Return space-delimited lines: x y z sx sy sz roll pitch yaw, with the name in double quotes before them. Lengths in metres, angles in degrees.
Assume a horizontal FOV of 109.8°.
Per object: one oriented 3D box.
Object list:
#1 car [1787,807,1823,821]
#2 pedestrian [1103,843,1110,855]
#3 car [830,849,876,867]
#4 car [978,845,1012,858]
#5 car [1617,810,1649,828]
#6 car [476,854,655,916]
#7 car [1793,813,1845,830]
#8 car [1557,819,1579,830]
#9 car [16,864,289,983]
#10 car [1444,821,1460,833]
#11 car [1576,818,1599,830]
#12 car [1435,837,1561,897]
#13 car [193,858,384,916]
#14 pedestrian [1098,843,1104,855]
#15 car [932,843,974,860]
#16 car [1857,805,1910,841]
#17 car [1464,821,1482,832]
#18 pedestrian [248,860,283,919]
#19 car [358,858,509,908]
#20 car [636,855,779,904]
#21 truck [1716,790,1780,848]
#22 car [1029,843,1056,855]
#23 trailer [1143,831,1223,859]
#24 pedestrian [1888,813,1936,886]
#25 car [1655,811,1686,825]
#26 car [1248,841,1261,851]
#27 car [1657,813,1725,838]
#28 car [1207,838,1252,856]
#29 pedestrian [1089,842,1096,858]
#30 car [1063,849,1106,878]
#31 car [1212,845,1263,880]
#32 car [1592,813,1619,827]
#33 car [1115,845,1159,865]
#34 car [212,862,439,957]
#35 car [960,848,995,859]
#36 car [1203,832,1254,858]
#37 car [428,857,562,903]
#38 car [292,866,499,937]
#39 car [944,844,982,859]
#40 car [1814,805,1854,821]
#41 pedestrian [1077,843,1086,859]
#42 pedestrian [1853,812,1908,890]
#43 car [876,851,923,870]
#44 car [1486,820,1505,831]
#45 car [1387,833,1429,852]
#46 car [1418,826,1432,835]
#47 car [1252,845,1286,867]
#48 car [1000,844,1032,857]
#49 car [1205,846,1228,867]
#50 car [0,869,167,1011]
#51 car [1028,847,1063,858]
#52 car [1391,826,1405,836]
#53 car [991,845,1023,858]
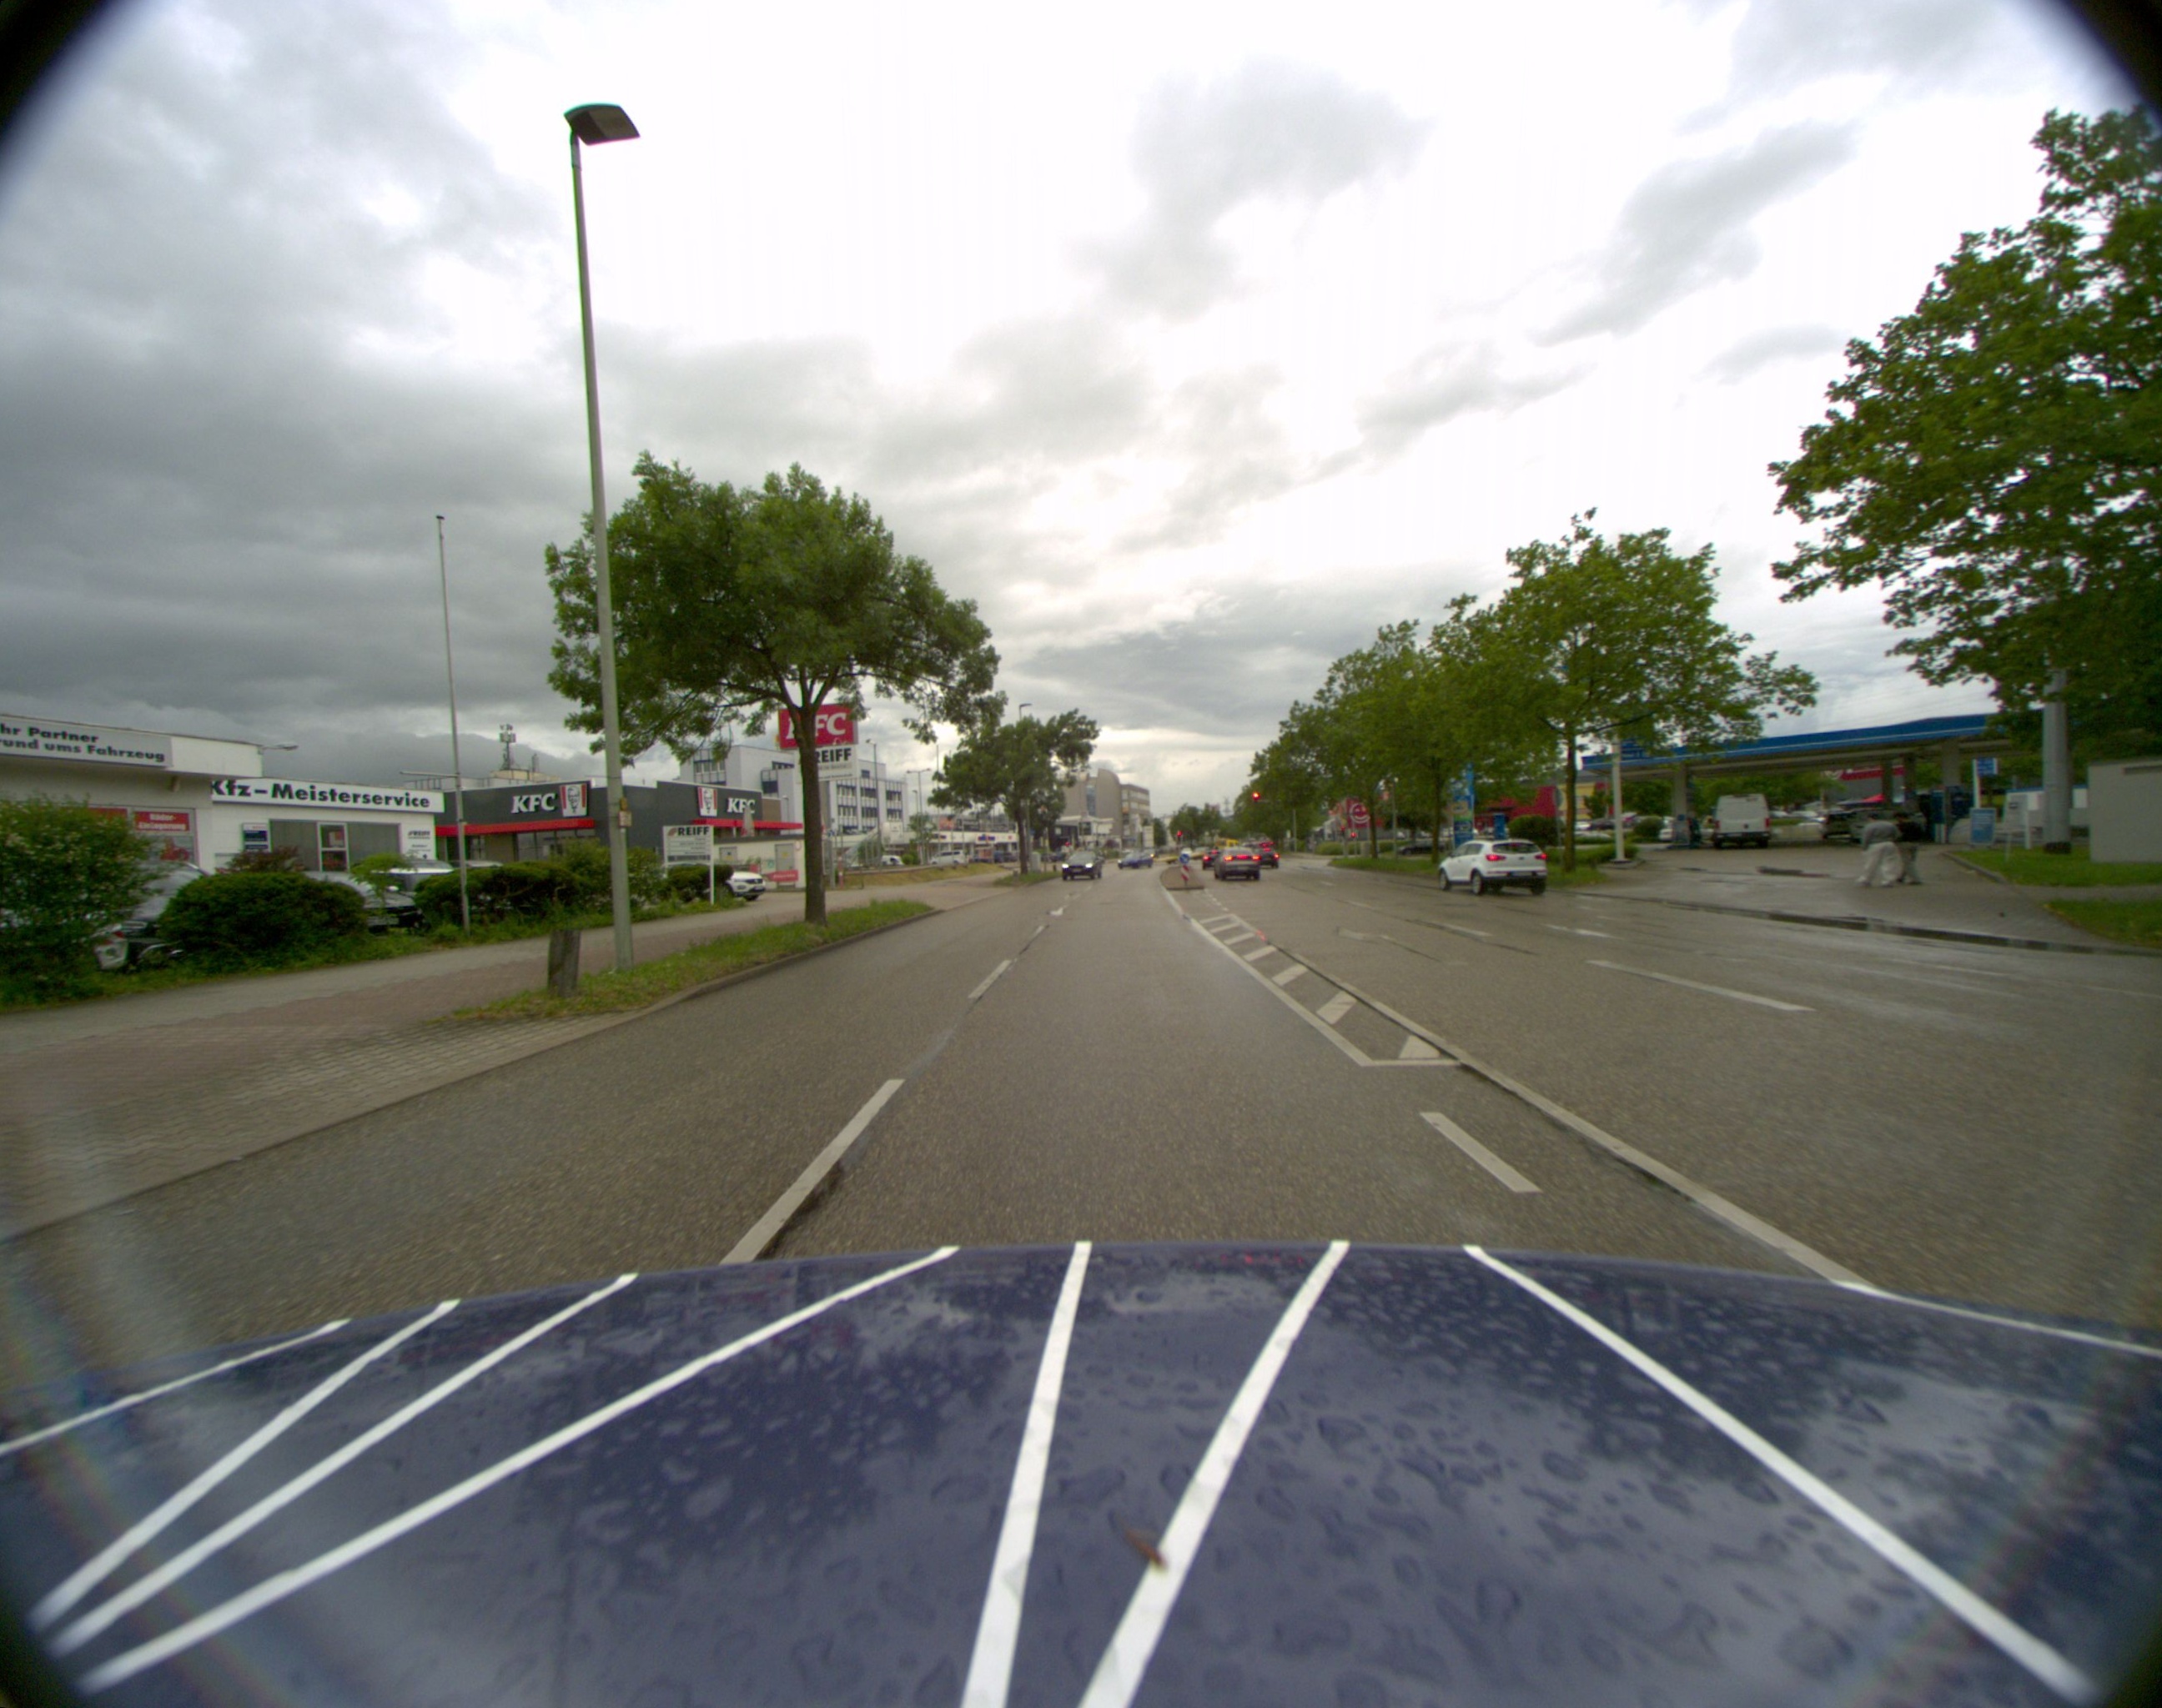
"car" 91.341 -5.021 95.879 1.670 1.636 3.831 -2 1 15
"pedestrian" 3.772 -0.766 112.300 0.713 1.701 0.698 -1 1 17
"car" -23.190 0.392 77.271 3.993 1.698 1.826 -2 1 13
"car" -12.354 -0.335 108.934 4.366 1.754 1.899 -2 1 16
"car" 80.242 -5.066 110.485 1.823 2.290 5.653 -1 1 15
"car" -13.664 0.812 20.196 3.992 1.514 1.720 -1 1 16
"car" 73.974 -3.240 76.249 1.682 1.600 4.289 -2 1 11
"car" 74.144 -4.494 115.703 1.670 1.636 3.967 -2 1 15
"car" -15.075 1.026 12.328 4.145 1.652 1.824 -1 -1 25
"car" 65.958 -4.819 134.992 1.788 1.914 3.753 -1 0 14
"car" 76.632 -4.559 115.058 1.670 1.636 3.967 -2 1 15
"car" 12.557 0.328 23.235 1.932 1.610 4.400 -2 1 8
"car" -23.564 0.952 22.699 3.855 1.470 1.787 -2 1 3
"pedestrian" 2.866 -0.717 109.671 0.700 1.701 0.698 -1 1 17
"car" -16.220 -0.322 96.092 4.777 2.002 2.002 -2 0 18
"car" 39.152 -1.530 37.138 3.569 1.573 1.684 -5 2 -45
"car" 62.081 -4.375 120.448 1.670 1.636 3.967 -2 1 15
"pedestrian" -25.140 1.089 23.433 0.437 1.775 0.516 -1 2 18
"car" -23.749 1.053 27.971 3.995 1.670 1.958 -1 1 5
"car" -13.235 0.900 27.039 4.182 1.543 1.891 -2 1 10
"truck" 34.192 -1.676 39.123 2.149 2.659 7.889 -1 0 39
"car" -6.433 -0.818 127.608 3.991 2.002 1.913 -2 1 20
"trailer" 10.800 -0.926 80.199 7.975 2.459 2.308 -3 -1 -16
"pedestrian" 19.345 -0.108 17.691 0.513 1.673 0.540 -1 1 3
"car" 73.925 -4.474 95.297 1.670 1.636 3.831 -2 1 15
"car" 27.385 -1.254 119.747 1.785 1.396 4.004 -2 1 16
"car" 45.837 -2.124 57.132 3.698 1.787 1.813 -2 1 -3
"car" 14.961 -0.698 76.572 4.001 1.544 1.899 -4 1 -13
"pedestrian" 1.501 -0.509 100.549 0.740 2.002 0.698 -1 1 13
"car" 0.278 0.537 44.622 1.899 1.544 4.594 -2 1 8
"car" 7.692 0.382 37.710 1.815 1.553 4.598 -2 1 3
"car" 66.795 -4.285 96.858 1.670 1.636 3.831 -2 1 15
"car" 5.076 0.064 67.948 1.797 1.623 4.560 -1 1 35
"car" -14.855 1.025 14.934 4.145 1.652 1.824 -1 -1 25
"car" -14.103 -0.024 103.746 4.366 1.386 1.825 -2 1 16
"car" 16.082 -1.011 82.670 5.022 2.459 2.242 -3 -1 -30
"car" -23.182 1.014 30.121 3.994 1.670 1.958 -2 1 10
"car" -16.105 1.079 17.896 3.933 1.514 1.734 -1 1 16
"car" -15.415 -0.295 99.297 4.366 1.809 1.899 -2 1 16
"car" 89.776 -4.881 90.662 1.670 1.636 3.831 -2 1 15
"pedestrian" 0.040 -0.393 95.220 0.817 2.002 0.696 -2 2 -26
"pedestrian" 18.626 -0.069 17.711 0.665 1.756 0.584 -3 1 24
"car" -18.301 0.647 76.568 4.242 1.772 1.801 -2 -1 13
"car" 64.794 -4.429 118.722 1.670 1.636 3.967 -2 1 15
"car" 32.813 -1.176 76.361 3.533 1.687 1.603 -3 1 12
"car" 61.600 -4.212 136.077 1.694 1.636 3.967 -2 1 15
"car" 13.999 0.127 56.819 1.997 1.499 4.732 -1 1 8
"car" -9.932 -0.488 116.130 4.366 1.895 1.899 -2 1 16
"car" 10.207 0.152 57.290 1.646 1.499 3.896 -1 0 10
"car" -14.247 1.044 9.754 4.059 1.588 1.987 -1 1 22
"car" -4.678 -0.185 100.397 4.118 1.386 1.826 -2 1 20
"car" 55.533 -3.973 133.112 1.694 1.636 3.967 -2 1 15
"car" -11.095 -0.356 113.788 4.366 1.754 1.899 -2 1 16
